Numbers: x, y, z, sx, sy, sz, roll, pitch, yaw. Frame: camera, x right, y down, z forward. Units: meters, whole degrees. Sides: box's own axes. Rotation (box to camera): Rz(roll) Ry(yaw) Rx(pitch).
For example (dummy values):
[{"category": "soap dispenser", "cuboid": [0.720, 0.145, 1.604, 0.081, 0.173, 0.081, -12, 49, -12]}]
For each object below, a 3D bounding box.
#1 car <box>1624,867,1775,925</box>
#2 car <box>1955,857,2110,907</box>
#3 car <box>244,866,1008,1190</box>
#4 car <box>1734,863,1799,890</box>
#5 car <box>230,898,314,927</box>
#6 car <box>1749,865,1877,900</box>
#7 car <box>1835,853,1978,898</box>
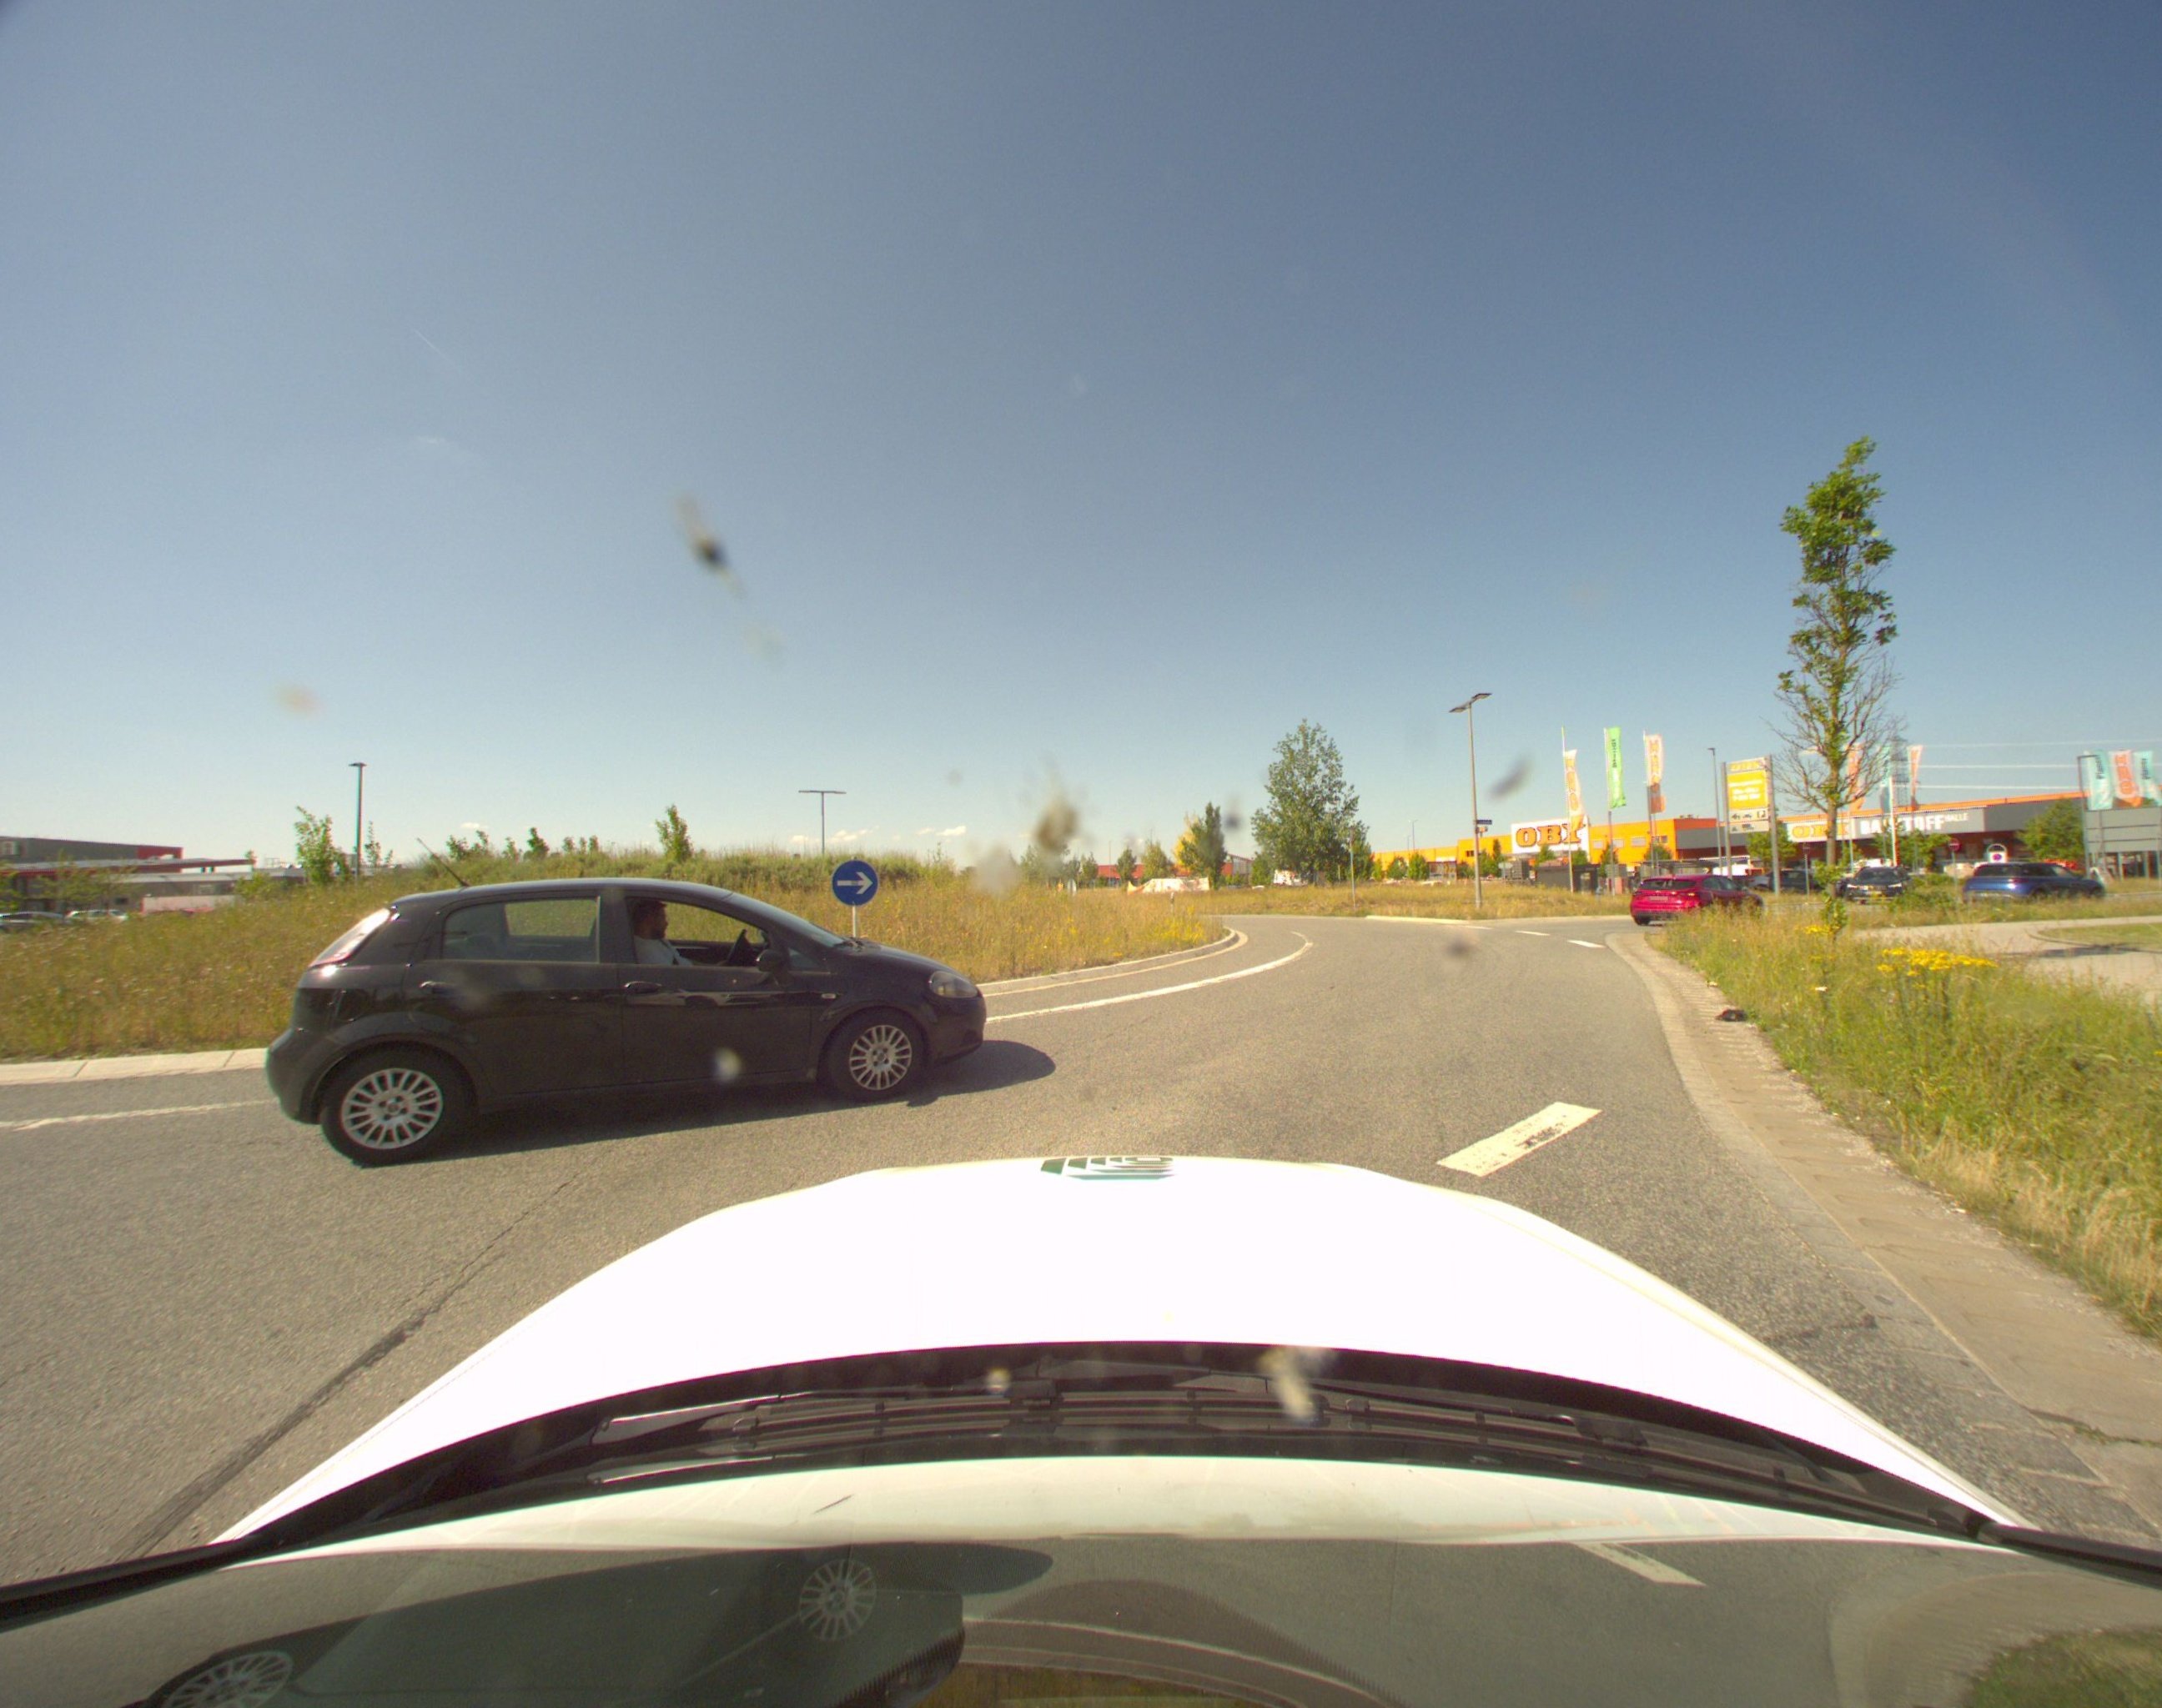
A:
[{"category": "car", "cuboid": [17.203, 1.118, 22.619, 4.128, 1.416, 1.791, 0, -2, -29]}, {"category": "car", "cuboid": [32.795, 0.943, 28.105, 4.072, 1.635, 1.848, 0, -2, -14]}, {"category": "car", "cuboid": [-2.622, 0.881, 5.527, 3.909, 1.488, 1.632, -1, -1, -24]}, {"category": "car", "cuboid": [48.048, 1.579, 57.091, 3.770, 1.841, 1.690, 1, -3, -16]}, {"category": "car", "cuboid": [-60.406, 4.339, 60.925, 1.996, 2.014, 5.112, -1, -3, -13]}, {"category": "car", "cuboid": [38.197, 1.547, 42.681, 2.070, 1.627, 4.683, -1, -4, -7]}, {"category": "car", "cuboid": [34.783, 0.917, 34.358, 4.615, 1.706, 1.949, -1, -4, -12]}]
